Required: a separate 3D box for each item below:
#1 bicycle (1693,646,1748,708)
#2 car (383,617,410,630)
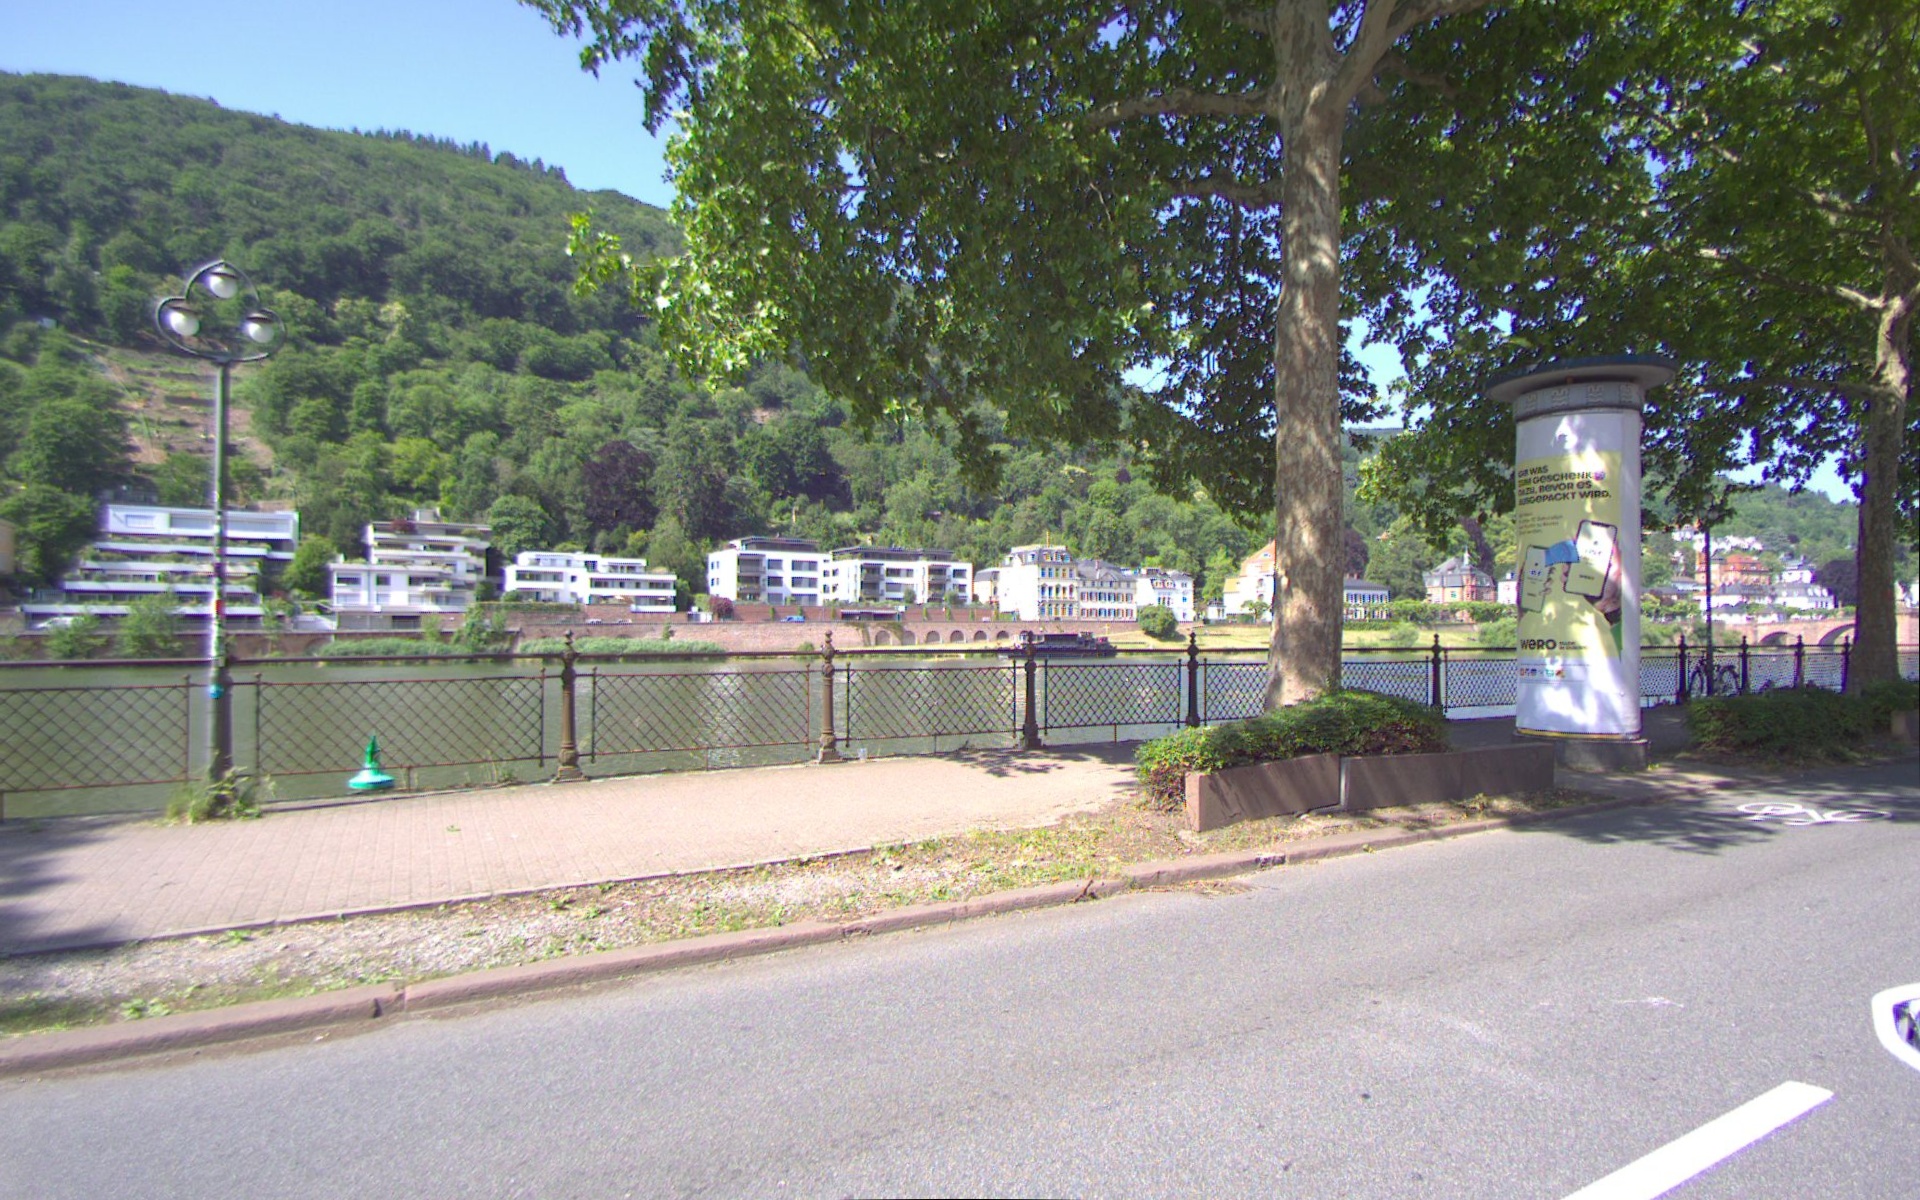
[{"bbox_3d":[14.366,1.435,18.968,1.281,1.106,0.357,1,2,-31],"label":"bicycle"},{"bbox_3d":[-95.414,3.953,170.103,3.953,2.041,1.984,0,1,-30],"label":"car"}]
